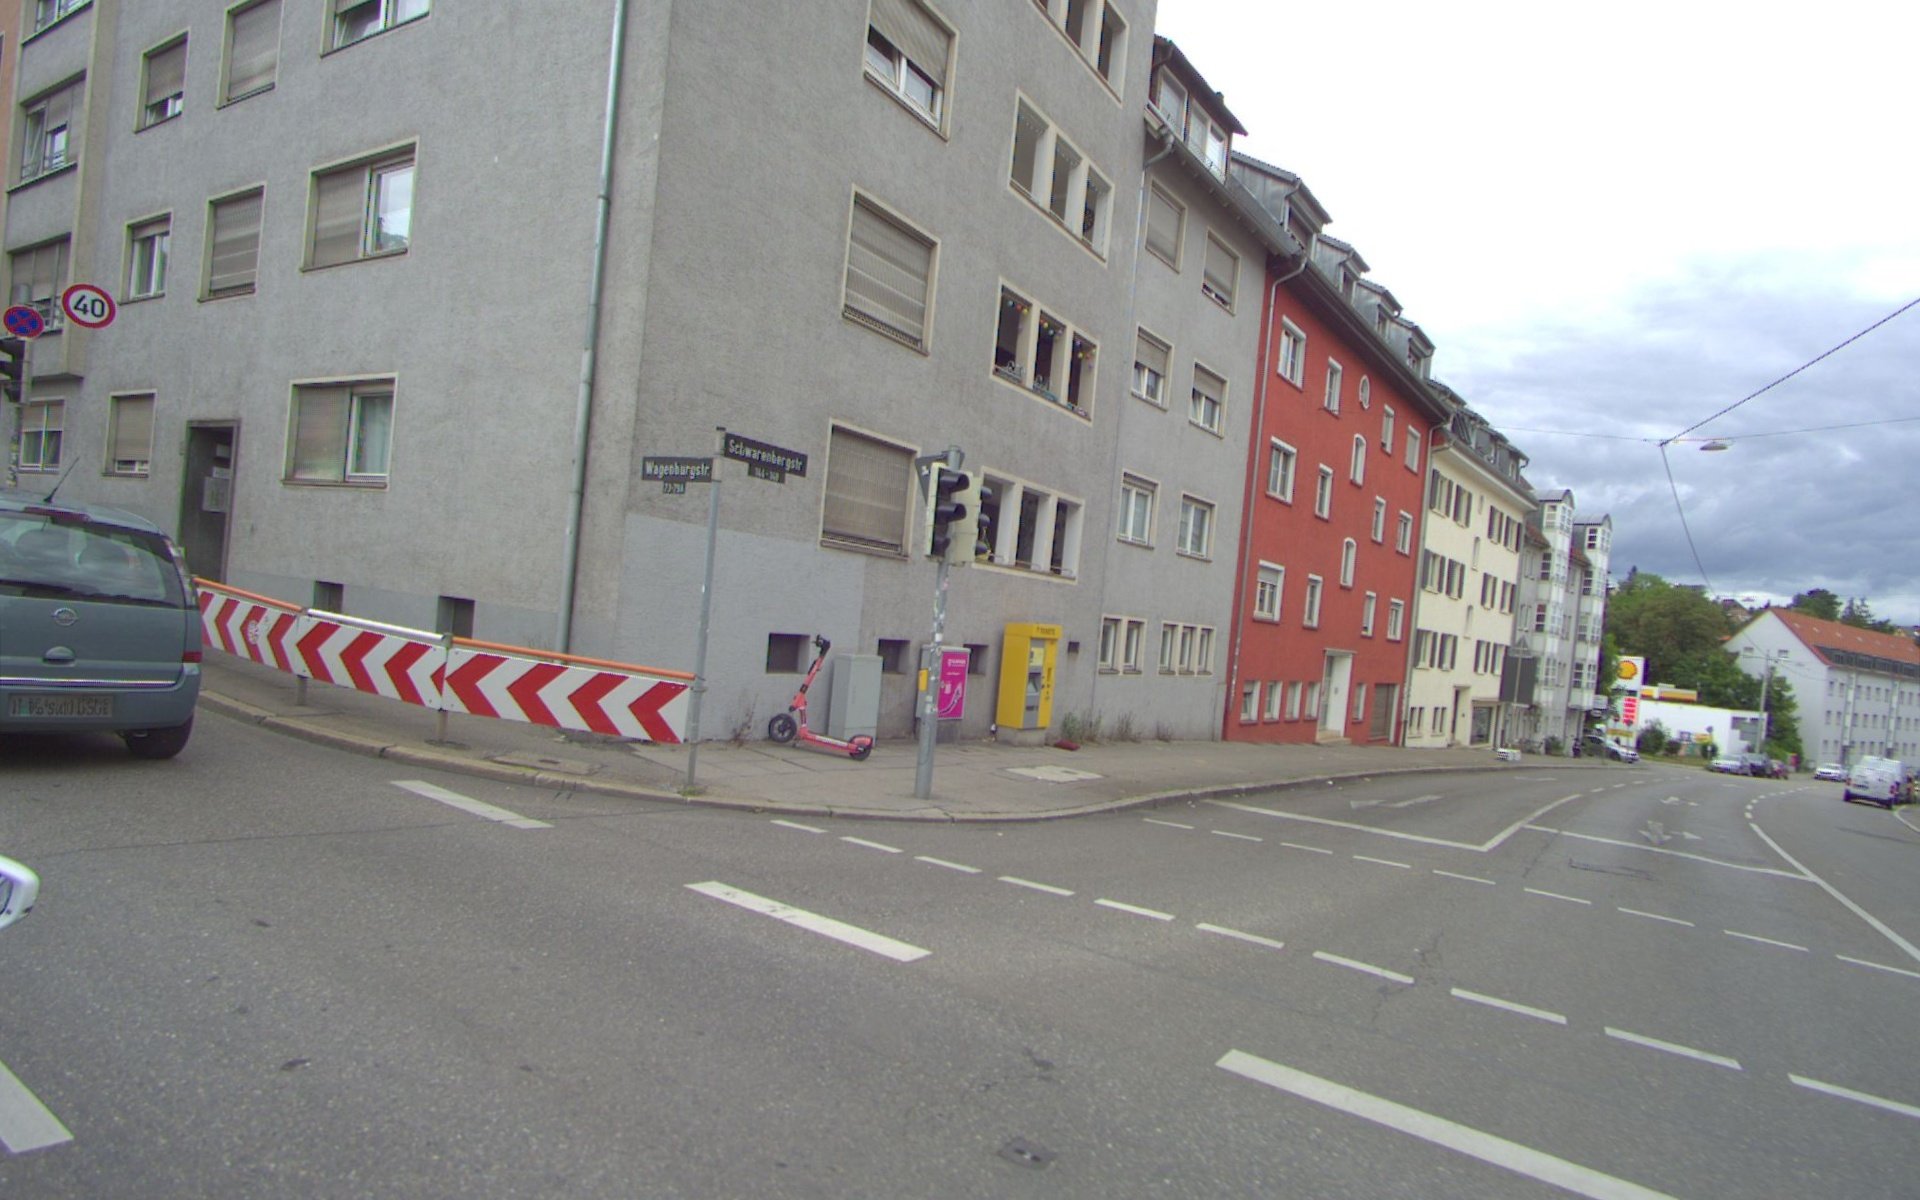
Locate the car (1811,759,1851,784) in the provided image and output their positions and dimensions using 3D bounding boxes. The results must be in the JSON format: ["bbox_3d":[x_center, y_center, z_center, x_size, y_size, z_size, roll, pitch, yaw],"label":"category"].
[{"bbox_3d":[78.507,15.455,90.655,3.971,1.703,1.856,10,-1,-38],"label":"car"}]

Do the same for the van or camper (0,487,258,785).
[{"bbox_3d":[-6.509,0.031,6.562,3.585,1.596,1.739,8,-2,32],"label":"van or camper"}]

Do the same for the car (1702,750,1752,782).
[{"bbox_3d":[54.957,11.877,72.058,3.975,1.788,1.855,10,-1,-41],"label":"car"}]

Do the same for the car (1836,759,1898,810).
[{"bbox_3d":[46.071,9.334,51.163,1.842,1.883,3.984,10,2,38],"label":"car"}]

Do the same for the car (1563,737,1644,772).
[{"bbox_3d":[42.861,10.287,67.068,1.982,1.453,3.965,10,-2,-33],"label":"car"}]

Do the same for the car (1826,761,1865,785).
[{"bbox_3d":[82.992,16.213,94.259,3.969,1.703,1.857,10,-1,-36],"label":"car"}]

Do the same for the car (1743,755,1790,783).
[{"bbox_3d":[62.418,13.099,77.842,3.970,1.638,1.857,10,-1,-37],"label":"car"}]

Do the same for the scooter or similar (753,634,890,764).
[{"bbox_3d":[-1.539,1.097,11.136,1.240,1.230,0.598,9,0,-22],"label":"scooter or similar"}]

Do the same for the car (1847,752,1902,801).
[{"bbox_3d":[53.654,10.330,59.098,1.842,2.259,3.984,10,2,38],"label":"car"}]

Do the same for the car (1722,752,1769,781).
[{"bbox_3d":[58.519,12.424,74.942,3.975,1.638,1.855,10,-1,-41],"label":"car"}]
